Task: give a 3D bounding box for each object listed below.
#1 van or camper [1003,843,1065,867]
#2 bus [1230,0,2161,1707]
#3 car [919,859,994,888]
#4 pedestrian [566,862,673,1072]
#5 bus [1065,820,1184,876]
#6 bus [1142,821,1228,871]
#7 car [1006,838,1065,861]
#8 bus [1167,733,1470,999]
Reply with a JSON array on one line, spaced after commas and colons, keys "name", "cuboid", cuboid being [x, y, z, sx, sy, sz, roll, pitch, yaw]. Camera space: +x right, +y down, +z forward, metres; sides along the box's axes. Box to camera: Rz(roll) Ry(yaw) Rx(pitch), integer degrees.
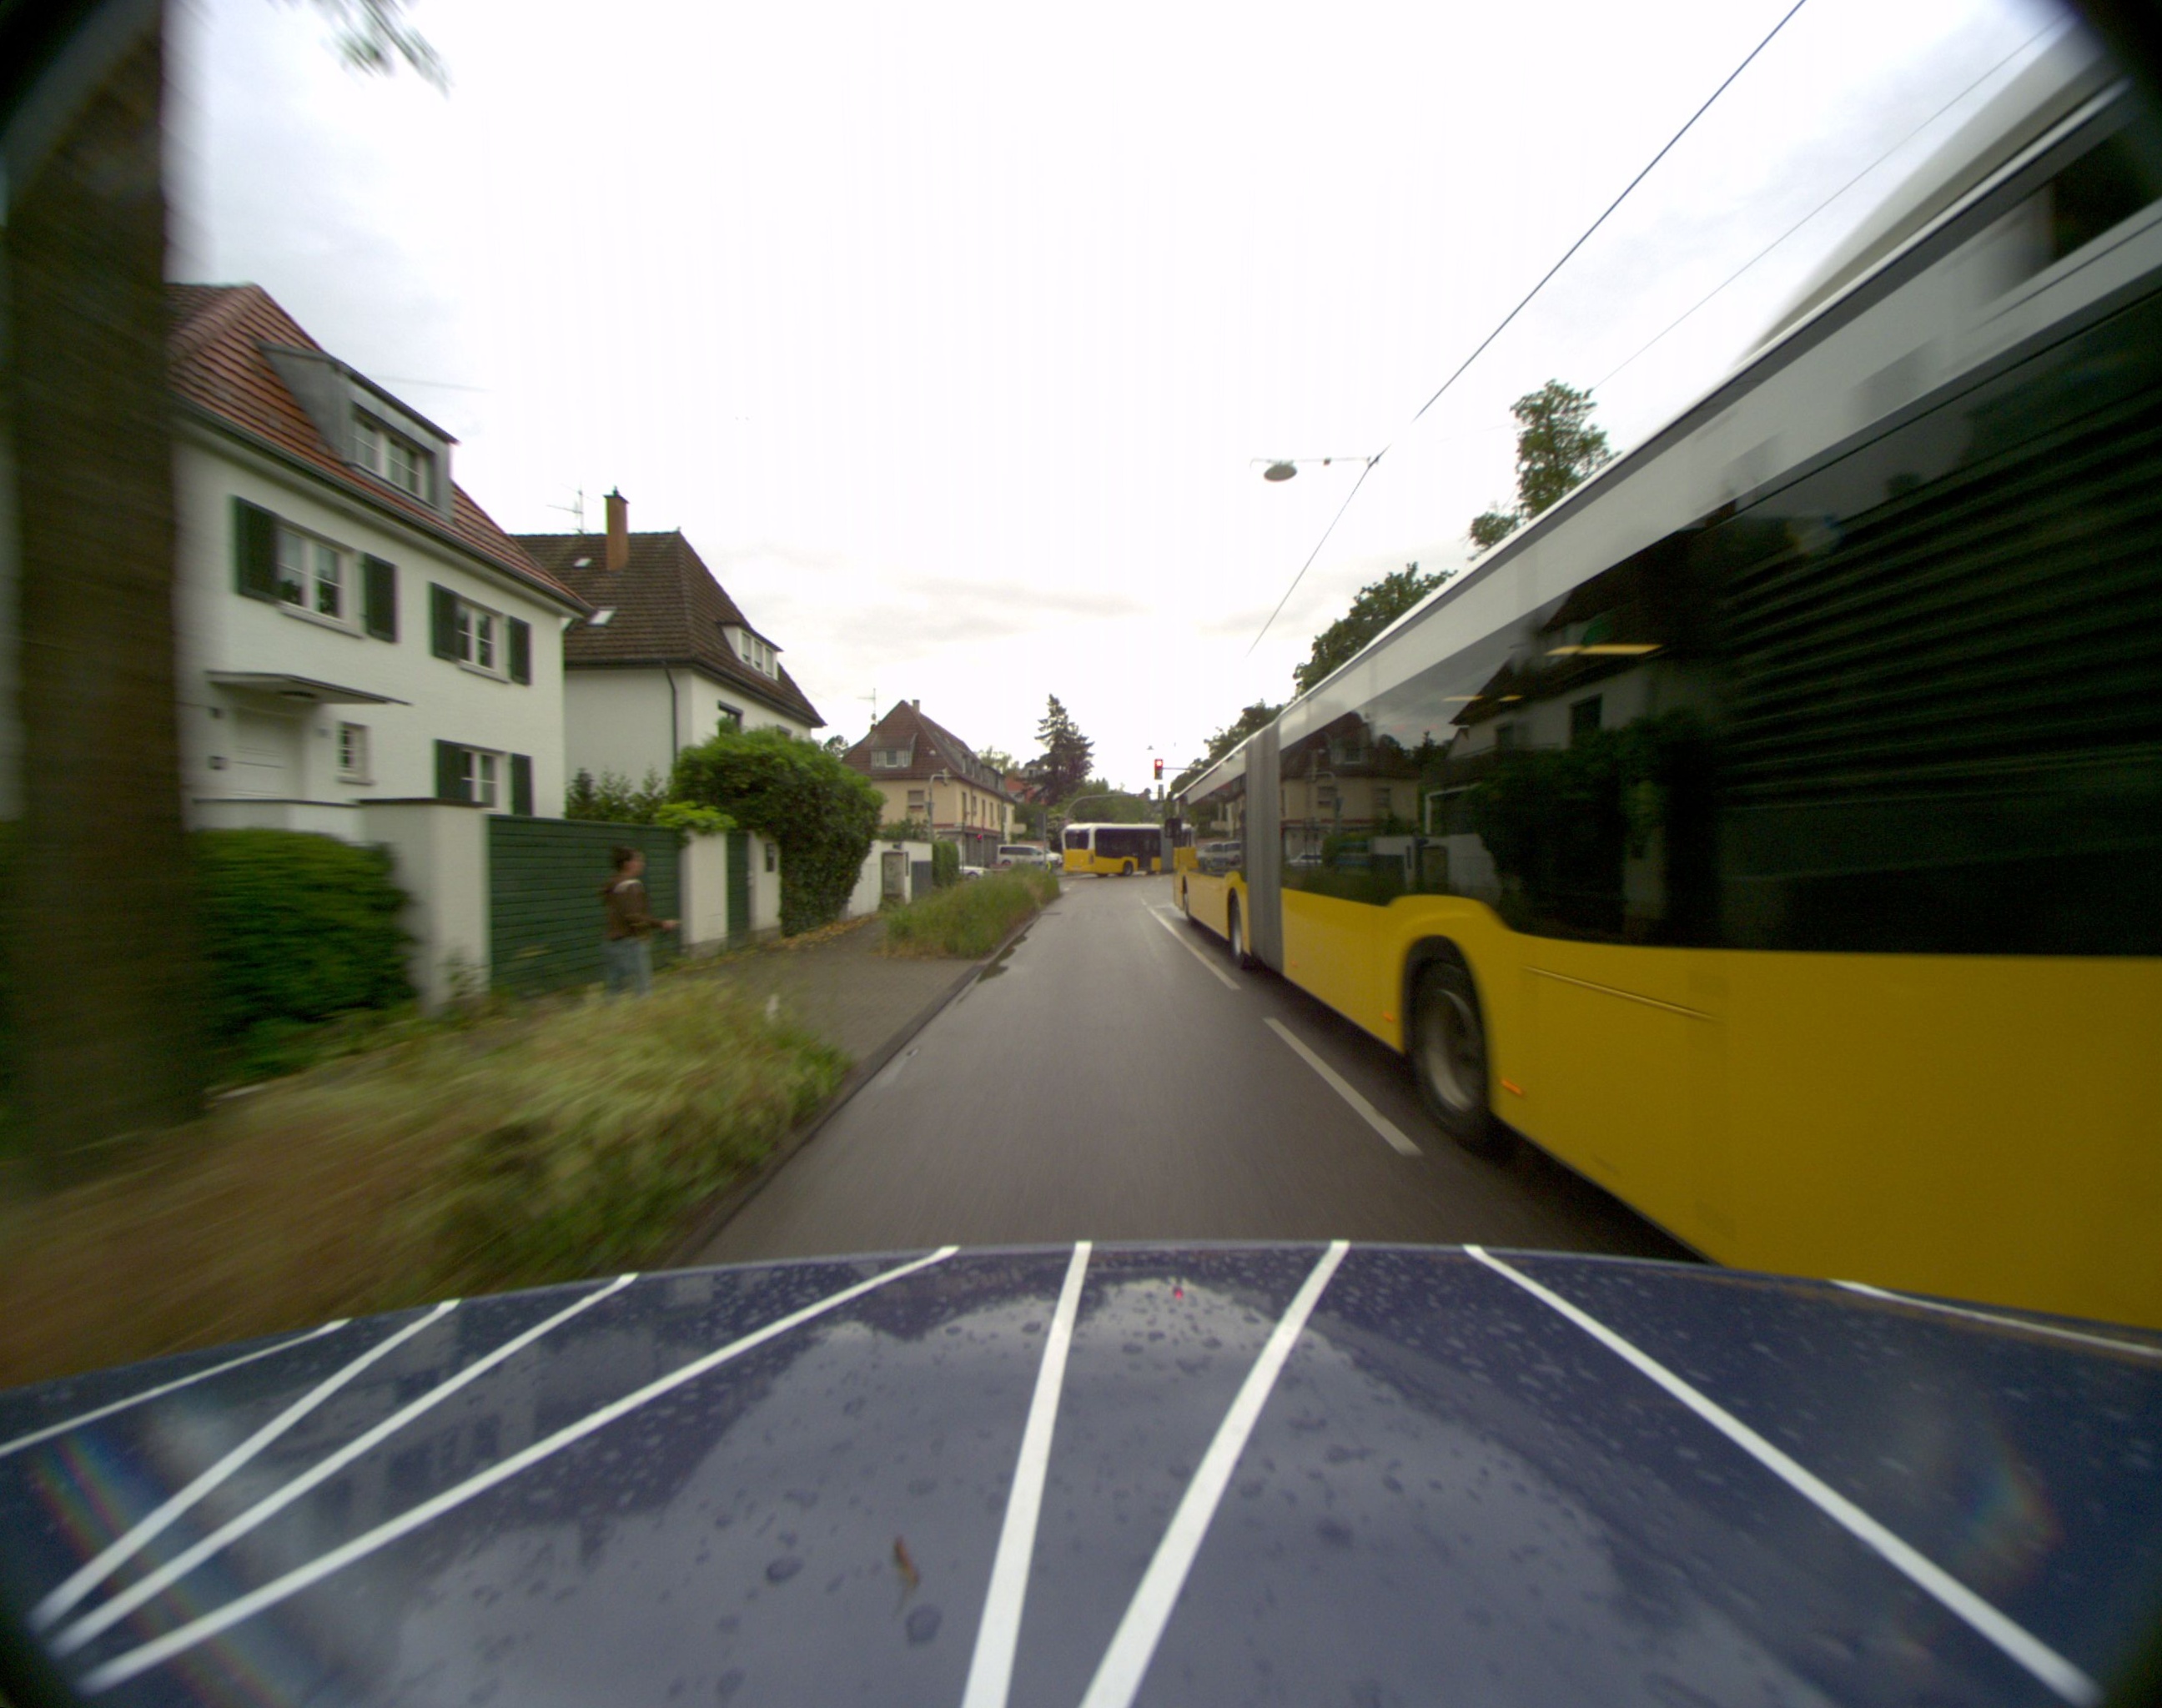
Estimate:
[{"name": "van or camper", "cuboid": [-4.166, 0.080, 67.568, 5.175, 2.002, 2.000, -1, 2, 6]}, {"name": "bus", "cuboid": [2.979, 0.001, 4.537, 2.601, 3.140, 8.635, -2, 1, 1]}, {"name": "car", "cuboid": [-7.117, 1.093, 43.767, 3.997, 1.521, 1.999, -1, 1, -2]}, {"name": "pedestrian", "cuboid": [-3.512, 0.835, 5.811, 0.483, 1.525, 0.439, -2, 1, -2]}, {"name": "bus", "cuboid": [3.030, -0.422, 50.070, 2.678, 3.378, 8.697, -1, 0, 45]}, {"name": "bus", "cuboid": [7.960, -0.610, 56.946, 2.901, 3.378, 9.057, -1, 0, 31]}, {"name": "car", "cuboid": [-4.231, -0.438, 70.617, 5.175, 2.002, 2.000, -1, 2, 6]}, {"name": "bus", "cuboid": [3.301, 0.107, 13.513, 2.650, 3.027, 9.229, -2, 1, 1]}]
